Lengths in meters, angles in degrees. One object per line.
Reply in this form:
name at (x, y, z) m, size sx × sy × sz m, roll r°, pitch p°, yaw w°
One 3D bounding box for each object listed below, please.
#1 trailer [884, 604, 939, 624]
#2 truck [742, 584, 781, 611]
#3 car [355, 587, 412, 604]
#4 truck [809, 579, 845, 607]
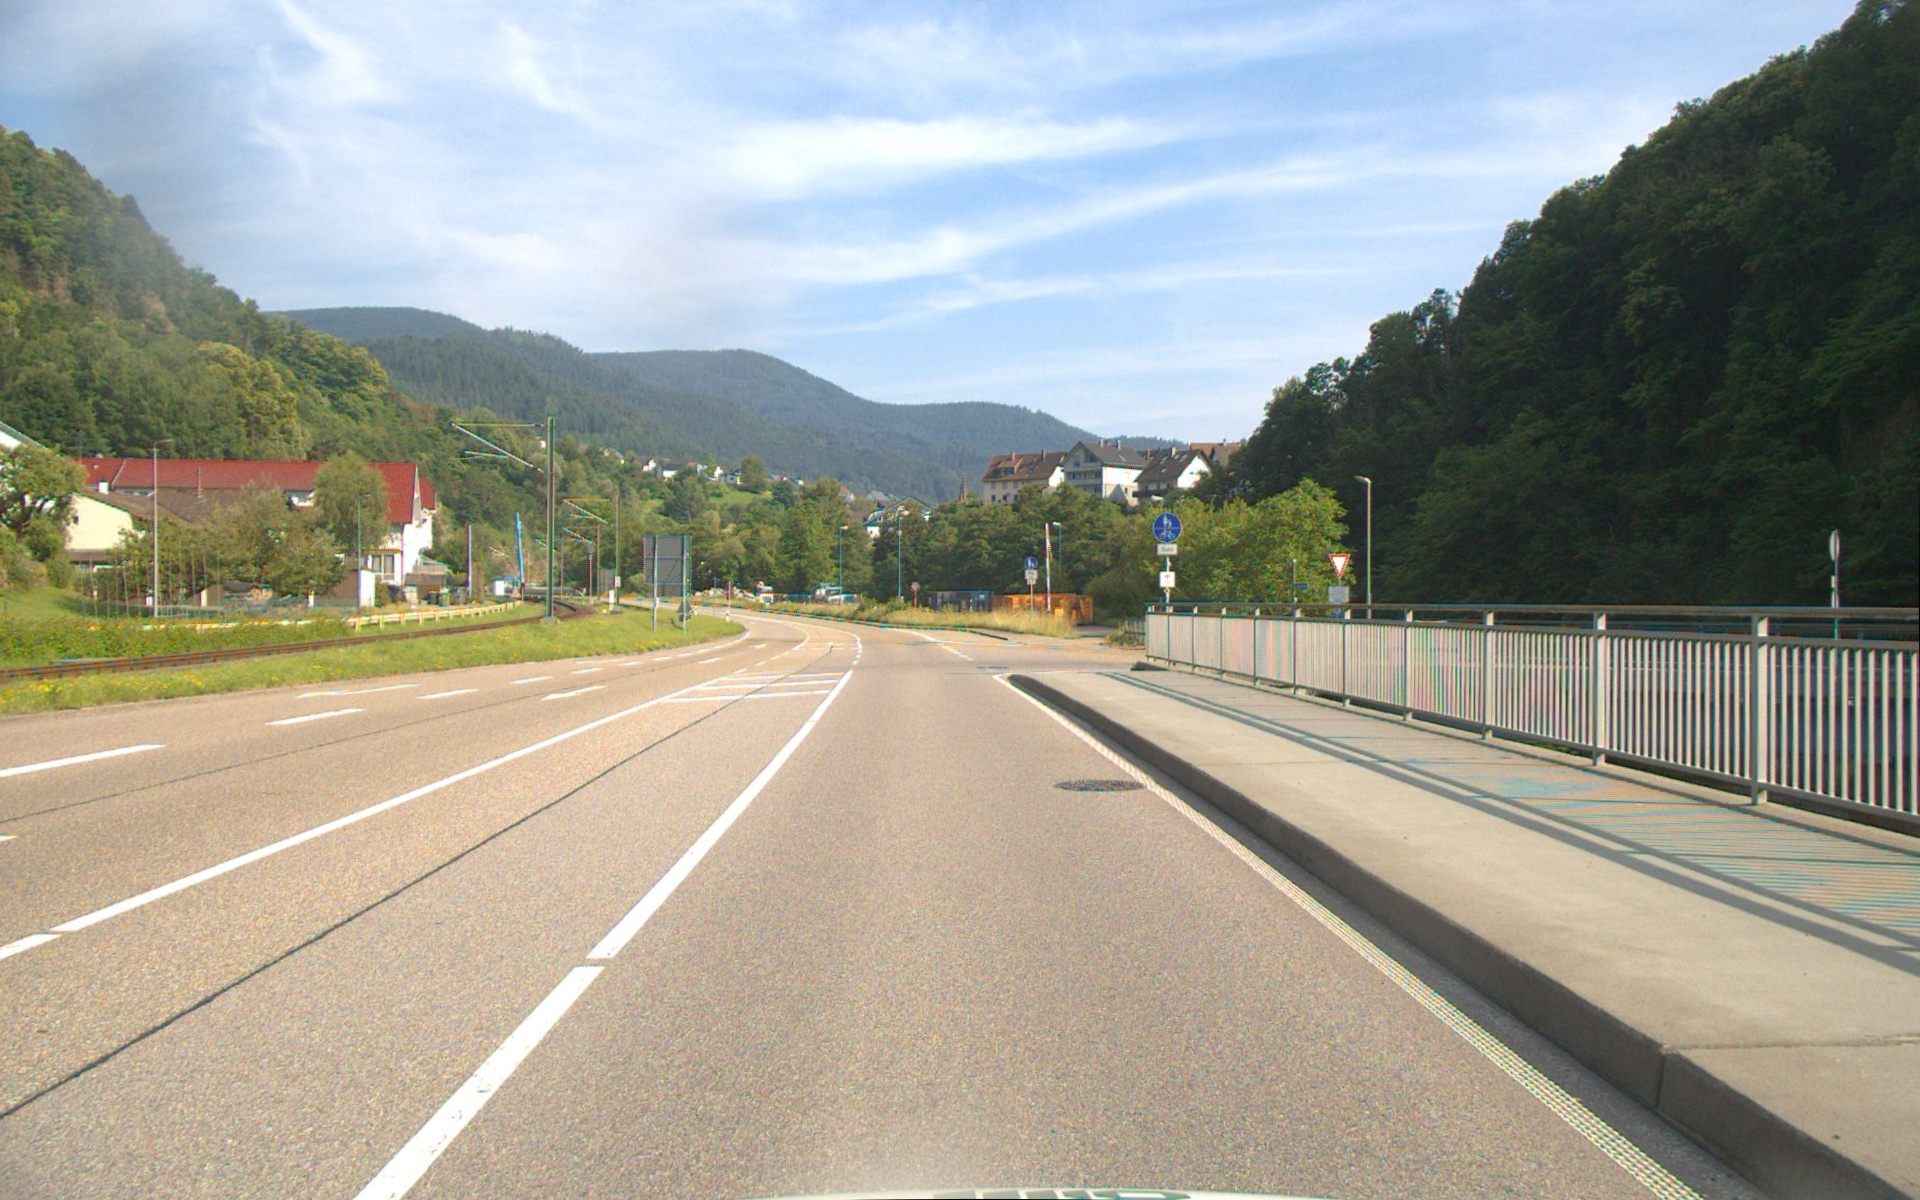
trailer at (-4.086, 1.136, 137.615) m, size 2.743 × 1.500 × 9.855 m, roll 2°, pitch 0°, yaw -13°
truck at (-29.922, -0.379, 249.327) m, size 3.067 × 3.848 × 8.567 m, roll 1°, pitch 0°, yaw -27°
car at (-45.381, -0.344, 130.156) m, size 4.023 × 1.293 × 1.731 m, roll 0°, pitch 0°, yaw -13°
truck at (-18.857, -0.969, 234.517) m, size 3.056 × 3.848 × 8.598 m, roll 1°, pitch 0°, yaw -19°
